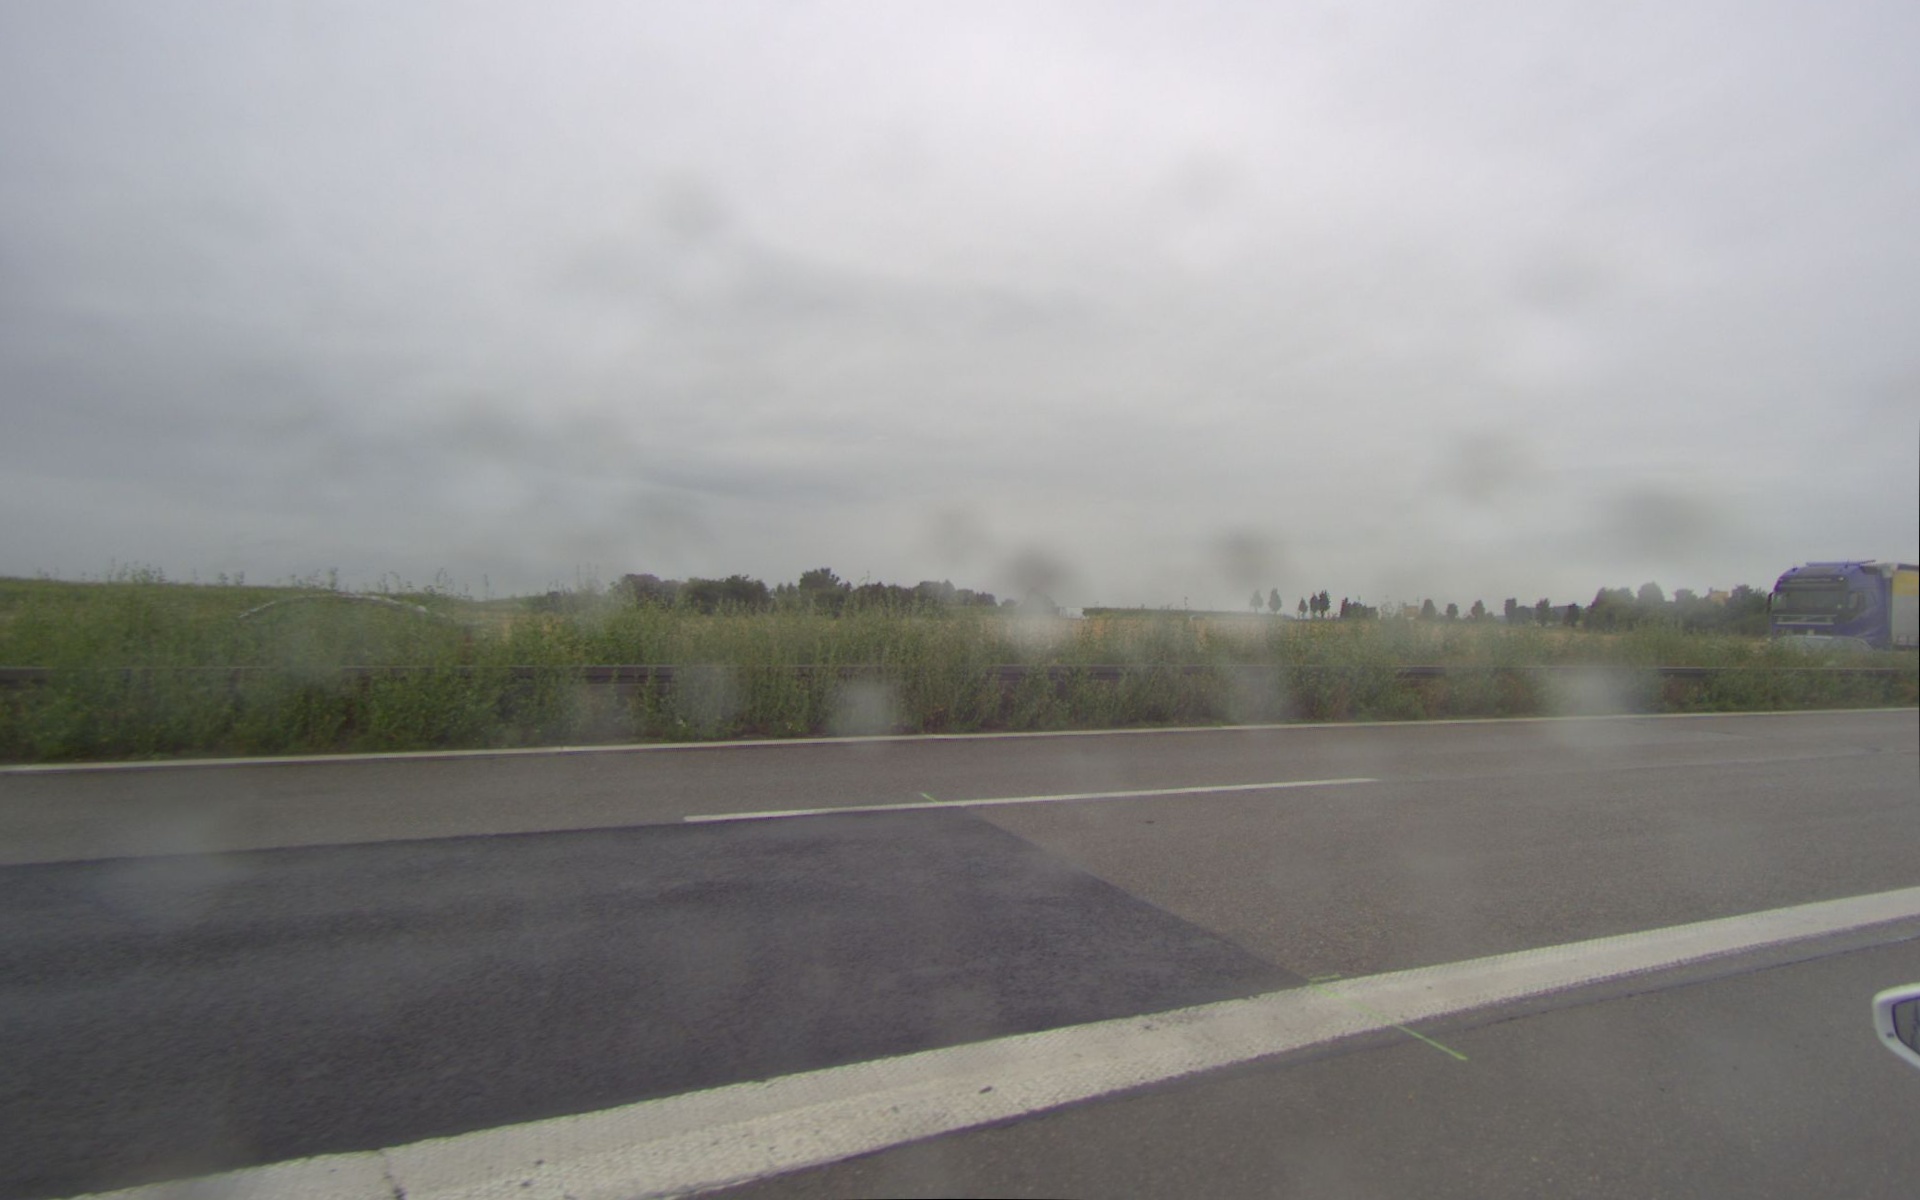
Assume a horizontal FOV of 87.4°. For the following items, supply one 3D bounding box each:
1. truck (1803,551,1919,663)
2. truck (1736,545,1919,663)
[{"bbox_3d":[40.377,0.407,40.613,15.104,4.020,3.186,2,2,-24],"label":"truck"},{"bbox_3d":[32.537,0.152,37.129,6.570,4.020,3.186,2,2,-24],"label":"truck"}]
